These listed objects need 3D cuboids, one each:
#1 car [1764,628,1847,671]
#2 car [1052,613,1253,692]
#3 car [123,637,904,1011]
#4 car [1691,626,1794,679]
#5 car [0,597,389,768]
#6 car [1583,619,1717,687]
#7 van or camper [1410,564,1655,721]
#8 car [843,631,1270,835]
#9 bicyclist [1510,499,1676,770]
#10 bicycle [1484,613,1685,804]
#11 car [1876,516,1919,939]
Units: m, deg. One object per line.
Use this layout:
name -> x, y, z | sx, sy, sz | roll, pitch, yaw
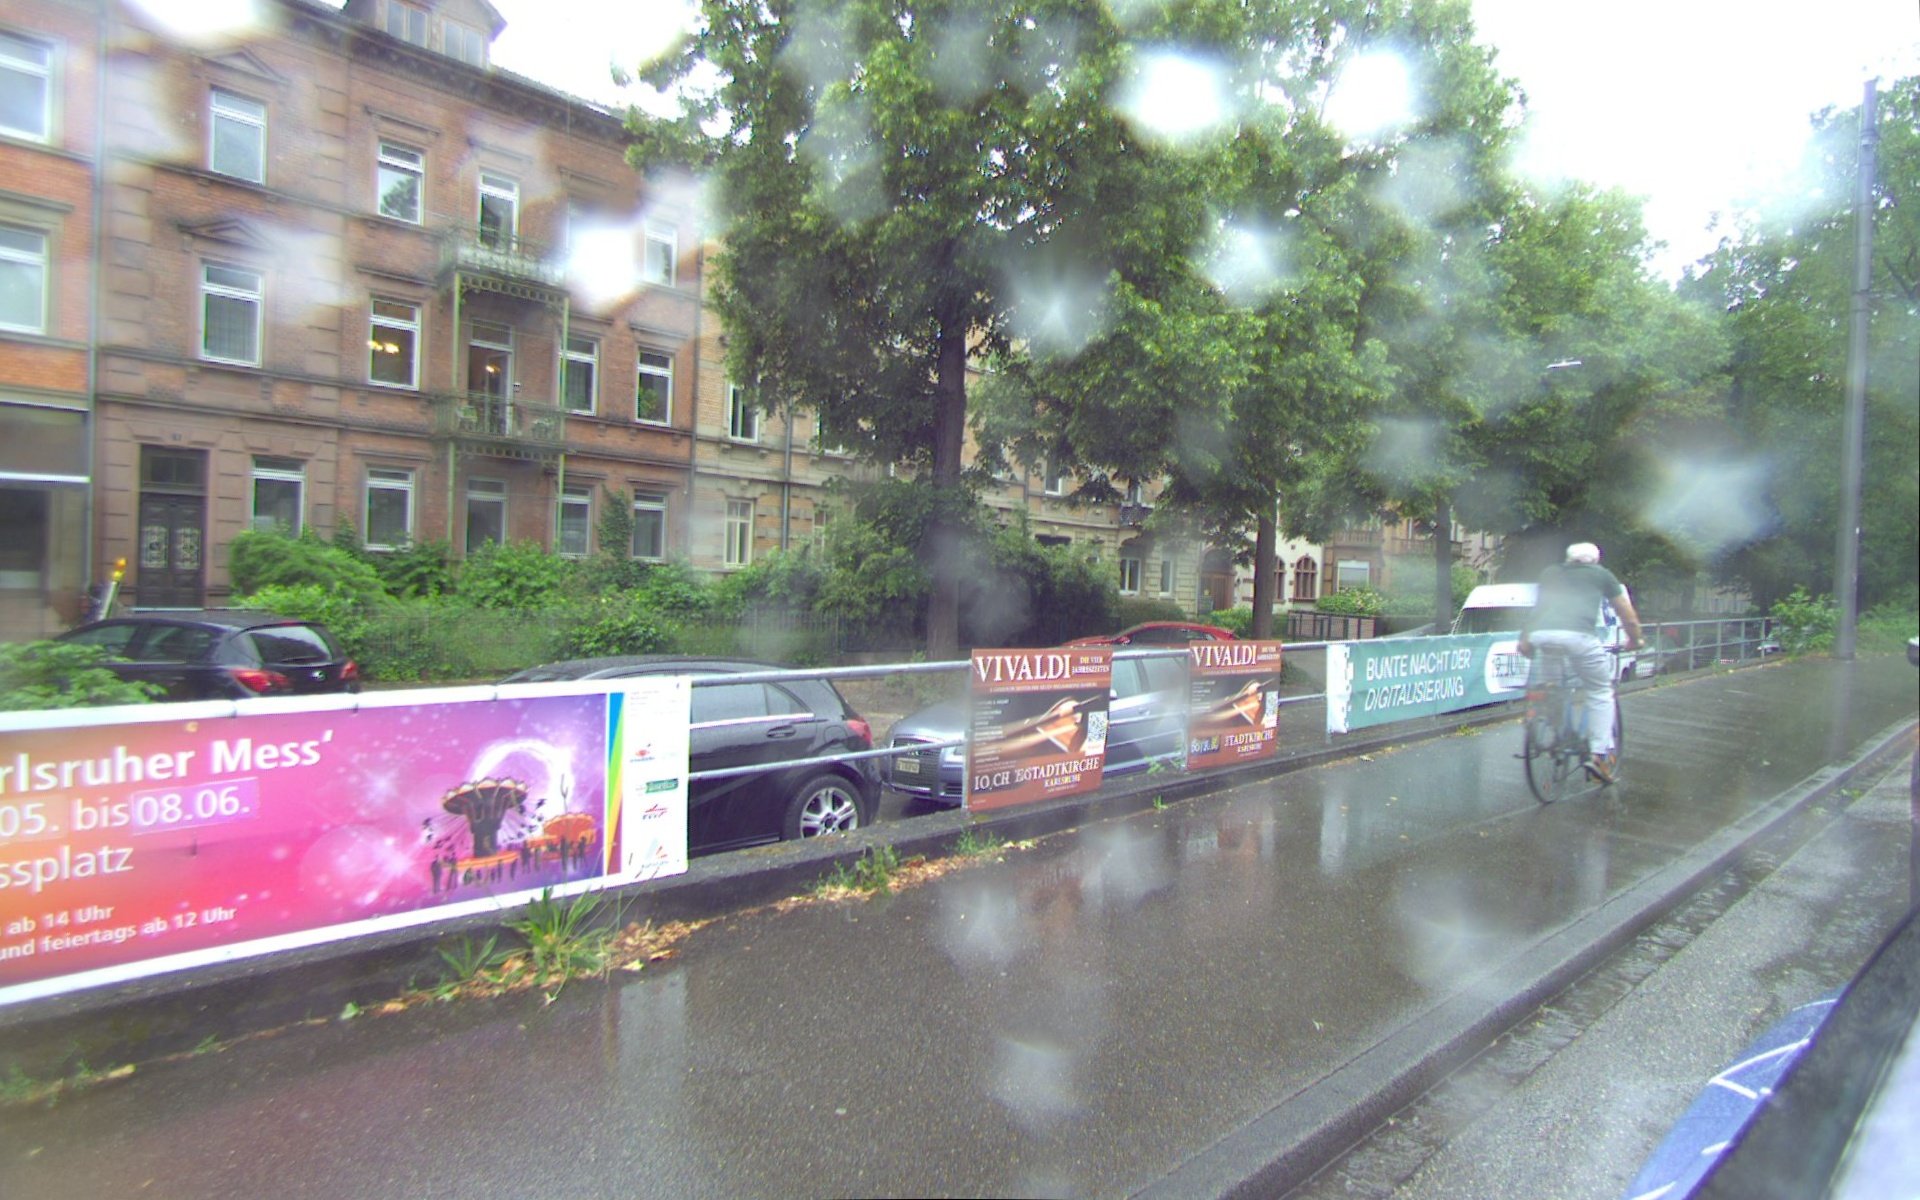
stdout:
car -> 32.119, 1.835, 38.419 | 3.929, 1.473, 1.808 | 2, 0, -41
car -> 4.320, 1.119, 22.626 | 4.230, 1.488, 1.700 | 2, 0, 18
car -> -2.531, 1.031, 6.349 | 4.142, 1.482, 1.749 | 1, 0, -41
car -> 23.427, 1.510, 30.267 | 3.930, 1.389, 1.702 | 0, 0, -41
car -> -8.566, 0.783, 10.957 | 3.940, 1.527, 1.853 | 1, 0, 13
car -> 16.638, 1.204, 24.334 | 4.142, 1.365, 1.629 | 0, 1, -41
van or camper -> 11.306, 0.729, 19.747 | 5.991, 2.624, 2.330 | 1, 0, -42
car -> 1.086, 1.087, 9.827 | 4.141, 1.488, 1.730 | 1, 0, -41
bicyclist -> 4.278, 0.207, 6.831 | 0.736, 1.676, 0.863 | 2, 1, 44
bicycle -> 4.277, 0.655, 6.868 | 0.738, 1.086, 1.836 | 3, 1, 45
car -> 6.085, 0.555, 4.779 | 4.595, 1.667, 1.912 | 1, 0, -39
